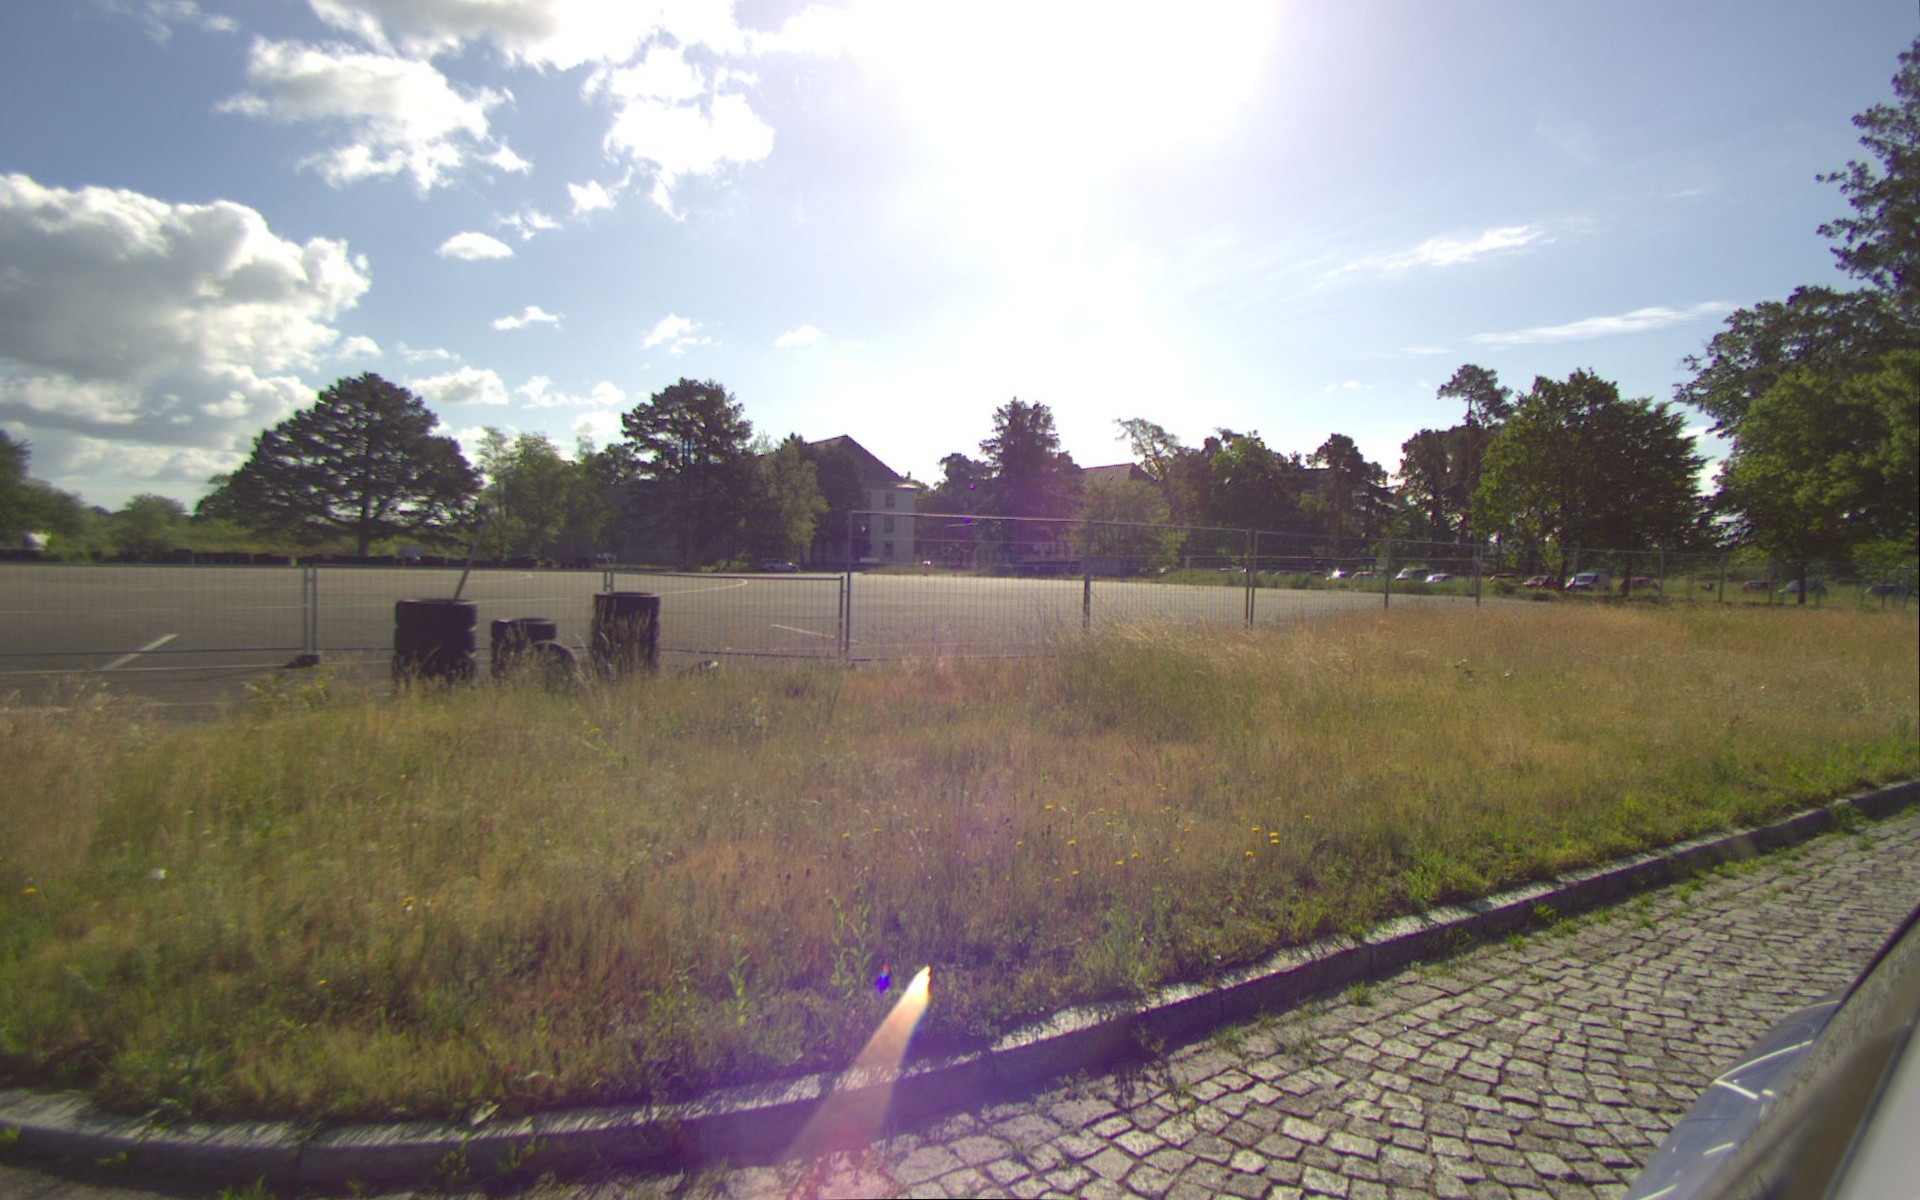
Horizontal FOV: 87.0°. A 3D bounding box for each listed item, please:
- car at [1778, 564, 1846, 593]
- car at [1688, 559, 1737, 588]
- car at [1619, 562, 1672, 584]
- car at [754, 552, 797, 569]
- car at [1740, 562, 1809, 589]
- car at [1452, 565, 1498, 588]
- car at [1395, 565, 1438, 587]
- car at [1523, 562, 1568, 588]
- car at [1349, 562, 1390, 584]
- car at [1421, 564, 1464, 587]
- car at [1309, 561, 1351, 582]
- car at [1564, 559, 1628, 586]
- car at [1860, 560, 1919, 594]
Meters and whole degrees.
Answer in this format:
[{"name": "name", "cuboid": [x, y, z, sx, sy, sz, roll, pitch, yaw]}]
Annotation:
[{"name": "car", "cuboid": [58.071, -1.483, 68.991, 4.263, 1.861, 2.250, -1, 3, -31]}, {"name": "car", "cuboid": [55.706, -1.969, 74.922, 3.549, 2.038, 1.744, -1, 3, -33]}, {"name": "car", "cuboid": [52.815, -2.093, 77.970, 3.922, 1.672, 2.002, -1, 3, -33]}, {"name": "car", "cuboid": [-18.903, -4.050, 103.795, 3.925, 1.601, 2.000, -1, 3, -36]}, {"name": "car", "cuboid": [57.518, -1.729, 71.434, 4.261, 1.861, 2.251, -1, 3, -28]}, {"name": "car", "cuboid": [46.145, -2.123, 90.680, 3.923, 2.038, 2.001, -1, 2, -34]}, {"name": "car", "cuboid": [42.391, -2.235, 93.923, 3.775, 2.038, 1.745, -1, 3, -30]}, {"name": "car", "cuboid": [48.816, -2.097, 84.392, 3.549, 2.038, 1.744, -1, 3, -33]}, {"name": "car", "cuboid": [39.979, -2.624, 98.686, 3.775, 2.038, 1.745, -1, 3, -30]}, {"name": "car", "cuboid": [43.784, -2.205, 91.891, 3.776, 2.038, 1.744, -1, 3, -33]}, {"name": "car", "cuboid": [37.524, -2.880, 102.626, 3.922, 2.038, 2.002, -1, 2, -33]}, {"name": "car", "cuboid": [51.209, -2.231, 81.436, 5.917, 2.038, 2.002, -2, 2, -32]}, {"name": "car", "cuboid": [60.093, -1.502, 65.199, 4.267, 2.038, 2.248, -1, 3, -36]}]
